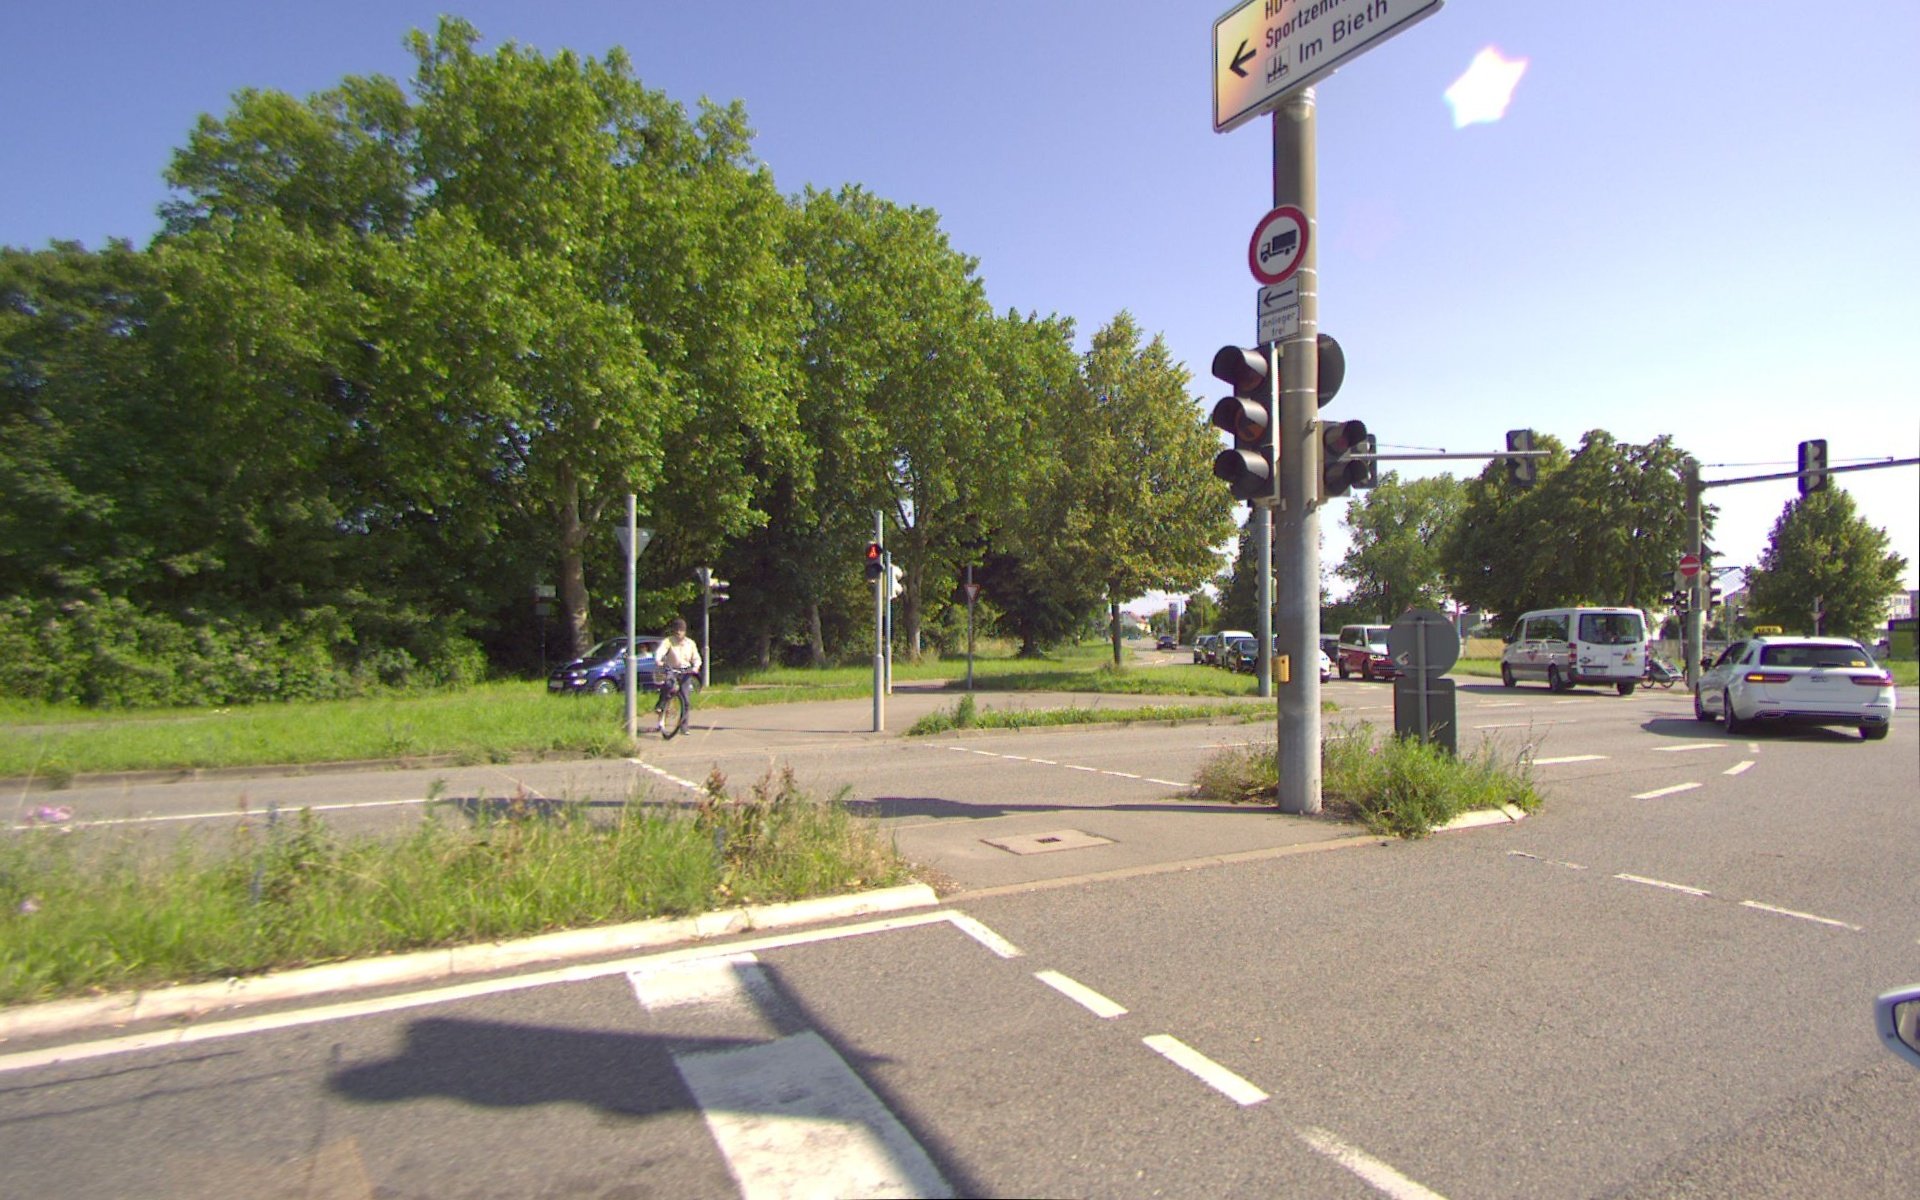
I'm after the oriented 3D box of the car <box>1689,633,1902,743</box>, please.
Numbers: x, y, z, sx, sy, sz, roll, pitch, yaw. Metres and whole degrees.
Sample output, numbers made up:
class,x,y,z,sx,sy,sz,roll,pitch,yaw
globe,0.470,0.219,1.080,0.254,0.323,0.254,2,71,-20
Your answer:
class,x,y,z,sx,sy,sz,roll,pitch,yaw
car,13.146,1.302,16.137,1.786,1.483,4.962,-1,-3,30

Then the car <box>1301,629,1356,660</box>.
class,x,y,z,sx,sy,sz,roll,pitch,yaw
car,20.546,2.443,56.145,1.875,1.671,4.002,0,-1,5

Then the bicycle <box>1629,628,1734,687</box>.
class,x,y,z,sx,sy,sz,roll,pitch,yaw
bicycle,21.827,1.717,30.478,1.114,1.692,2.801,0,-1,-2

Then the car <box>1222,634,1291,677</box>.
class,x,y,z,sx,sy,sz,roll,pitch,yaw
car,12.055,2.223,41.103,1.964,1.627,4.271,0,-2,6

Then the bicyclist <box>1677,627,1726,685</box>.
class,x,y,z,sx,sy,sz,roll,pitch,yaw
bicyclist,21.819,1.628,29.567,0.743,1.640,0.865,2,0,-1

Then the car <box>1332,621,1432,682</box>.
class,x,y,z,sx,sy,sz,roll,pitch,yaw
car,14.812,1.781,35.533,1.959,1.976,4.659,0,-2,6

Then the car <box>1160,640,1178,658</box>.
class,x,y,z,sx,sy,sz,roll,pitch,yaw
car,23.864,5.565,114.375,1.741,1.773,4.101,1,-1,15

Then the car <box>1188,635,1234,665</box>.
class,x,y,z,sx,sy,sz,roll,pitch,yaw
car,13.426,2.655,53.934,1.881,1.532,4.129,0,-2,6

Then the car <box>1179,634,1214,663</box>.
class,x,y,z,sx,sy,sz,roll,pitch,yaw
car,14.026,2.841,59.689,1.964,1.627,4.271,0,-2,13

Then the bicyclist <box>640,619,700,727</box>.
class,x,y,z,sx,sy,sz,roll,pitch,yaw
bicyclist,-4.313,1.056,14.903,0.737,1.538,0.844,1,0,-24

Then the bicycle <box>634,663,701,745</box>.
class,x,y,z,sx,sy,sz,roll,pitch,yaw
bicycle,-4.417,1.530,15.105,0.737,1.055,1.671,1,0,-24

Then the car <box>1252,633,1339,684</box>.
class,x,y,z,sx,sy,sz,roll,pitch,yaw
car,11.435,1.959,34.513,1.964,1.627,4.271,0,-2,6

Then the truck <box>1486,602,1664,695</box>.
class,x,y,z,sx,sy,sz,roll,pitch,yaw
truck,17.713,1.341,29.392,2.333,2.420,6.045,0,-1,9

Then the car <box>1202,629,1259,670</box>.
class,x,y,z,sx,sy,sz,roll,pitch,yaw
car,12.845,2.336,47.911,1.964,1.824,4.511,0,-2,6

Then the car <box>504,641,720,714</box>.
class,x,y,z,sx,sy,sz,roll,pitch,yaw
car,-7.889,1.735,23.060,1.971,1.514,4.263,-2,-4,41
